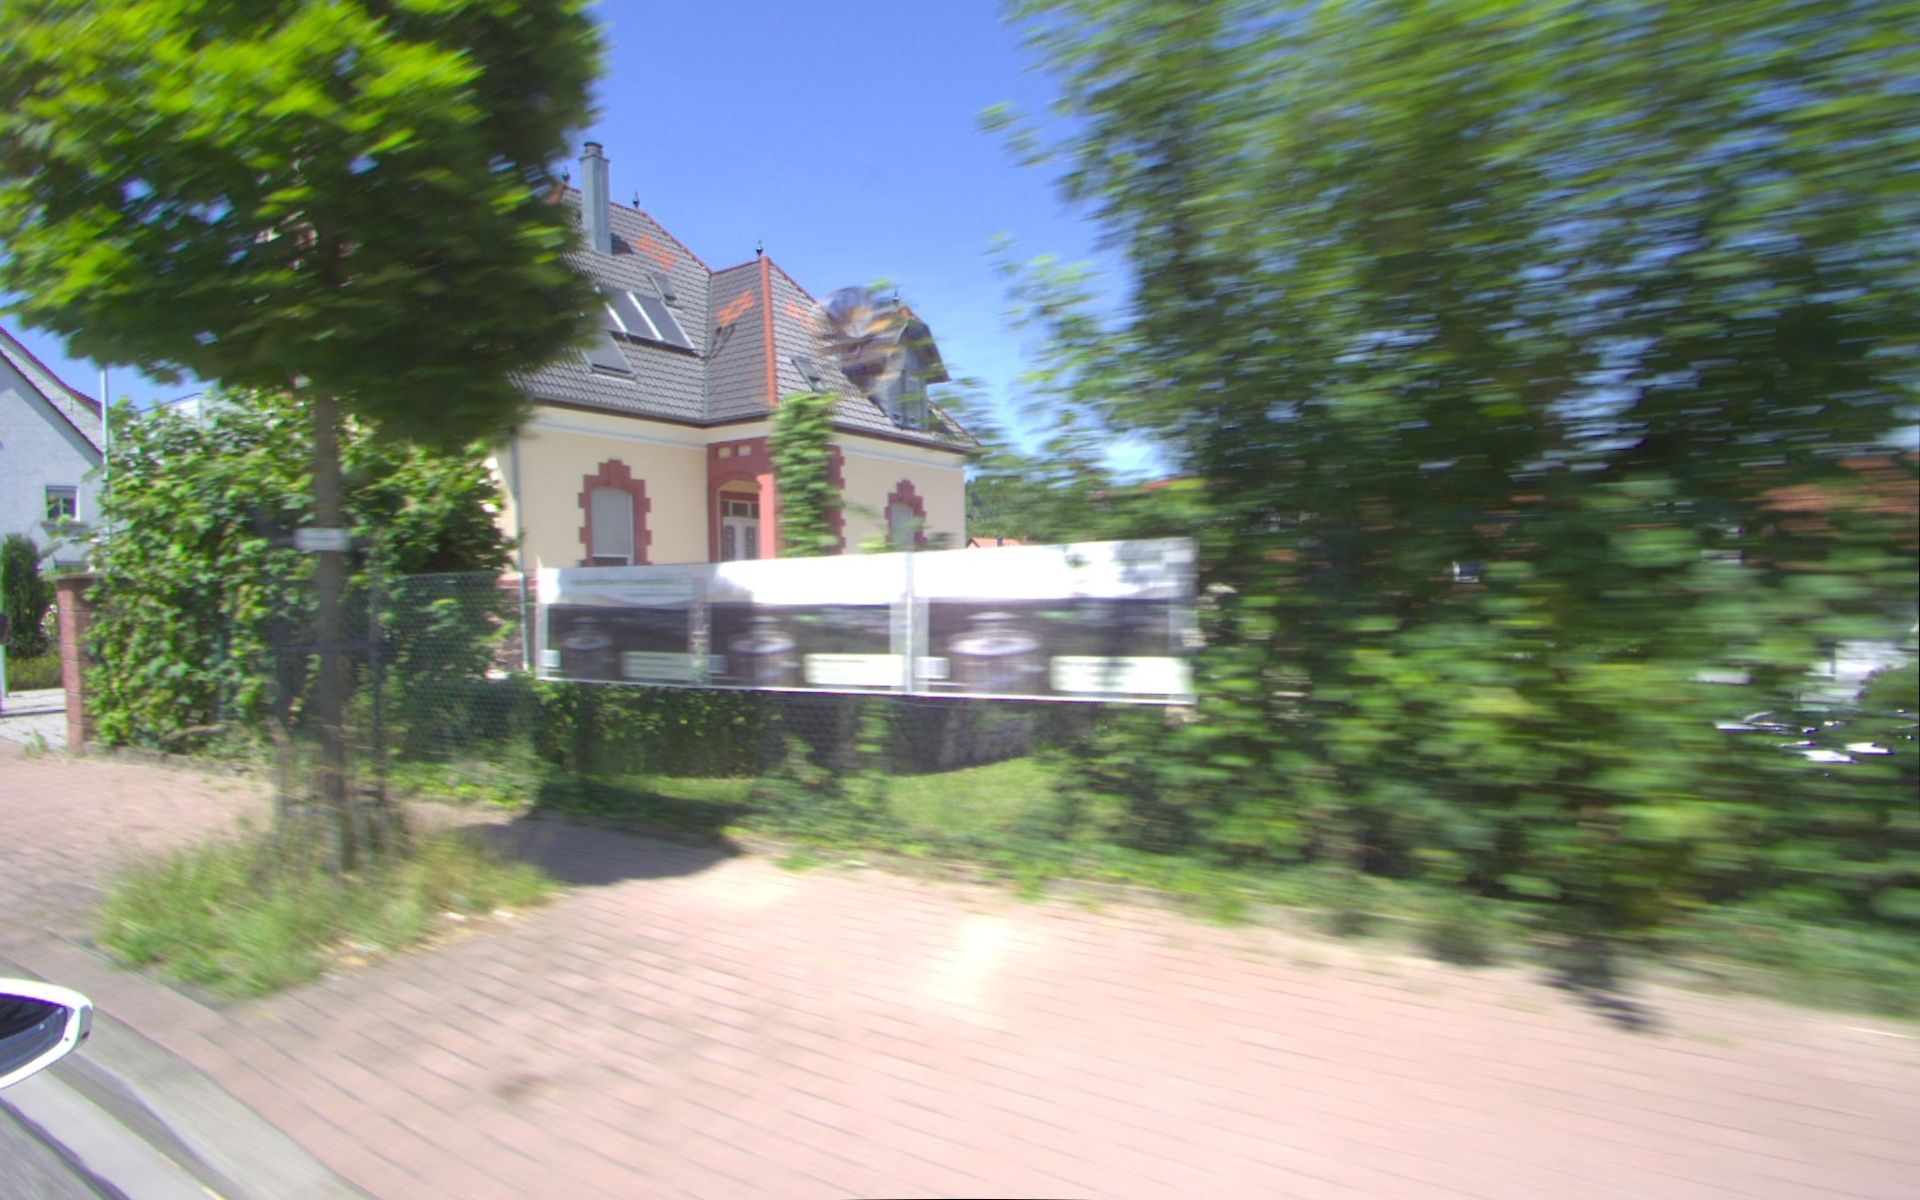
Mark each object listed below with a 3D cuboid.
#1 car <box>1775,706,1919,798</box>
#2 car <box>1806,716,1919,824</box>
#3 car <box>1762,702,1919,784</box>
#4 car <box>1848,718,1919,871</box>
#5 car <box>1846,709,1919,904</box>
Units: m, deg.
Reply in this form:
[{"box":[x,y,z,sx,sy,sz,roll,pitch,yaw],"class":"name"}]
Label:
[{"box":[16.104,2.577,17.043,3.246,1.490,1.322,-3,-7,32],"class":"car"},{"box":[14.386,2.435,14.332,3.246,1.490,1.322,-3,-7,32],"class":"car"},{"box":[17.817,2.755,19.422,3.335,1.490,1.322,-3,-7,32],"class":"car"},{"box":[10.763,1.907,9.621,3.257,1.490,1.318,-5,-8,41],"class":"car"},{"box":[9.164,1.624,7.495,3.522,1.489,1.492,-3,-9,33],"class":"car"}]
